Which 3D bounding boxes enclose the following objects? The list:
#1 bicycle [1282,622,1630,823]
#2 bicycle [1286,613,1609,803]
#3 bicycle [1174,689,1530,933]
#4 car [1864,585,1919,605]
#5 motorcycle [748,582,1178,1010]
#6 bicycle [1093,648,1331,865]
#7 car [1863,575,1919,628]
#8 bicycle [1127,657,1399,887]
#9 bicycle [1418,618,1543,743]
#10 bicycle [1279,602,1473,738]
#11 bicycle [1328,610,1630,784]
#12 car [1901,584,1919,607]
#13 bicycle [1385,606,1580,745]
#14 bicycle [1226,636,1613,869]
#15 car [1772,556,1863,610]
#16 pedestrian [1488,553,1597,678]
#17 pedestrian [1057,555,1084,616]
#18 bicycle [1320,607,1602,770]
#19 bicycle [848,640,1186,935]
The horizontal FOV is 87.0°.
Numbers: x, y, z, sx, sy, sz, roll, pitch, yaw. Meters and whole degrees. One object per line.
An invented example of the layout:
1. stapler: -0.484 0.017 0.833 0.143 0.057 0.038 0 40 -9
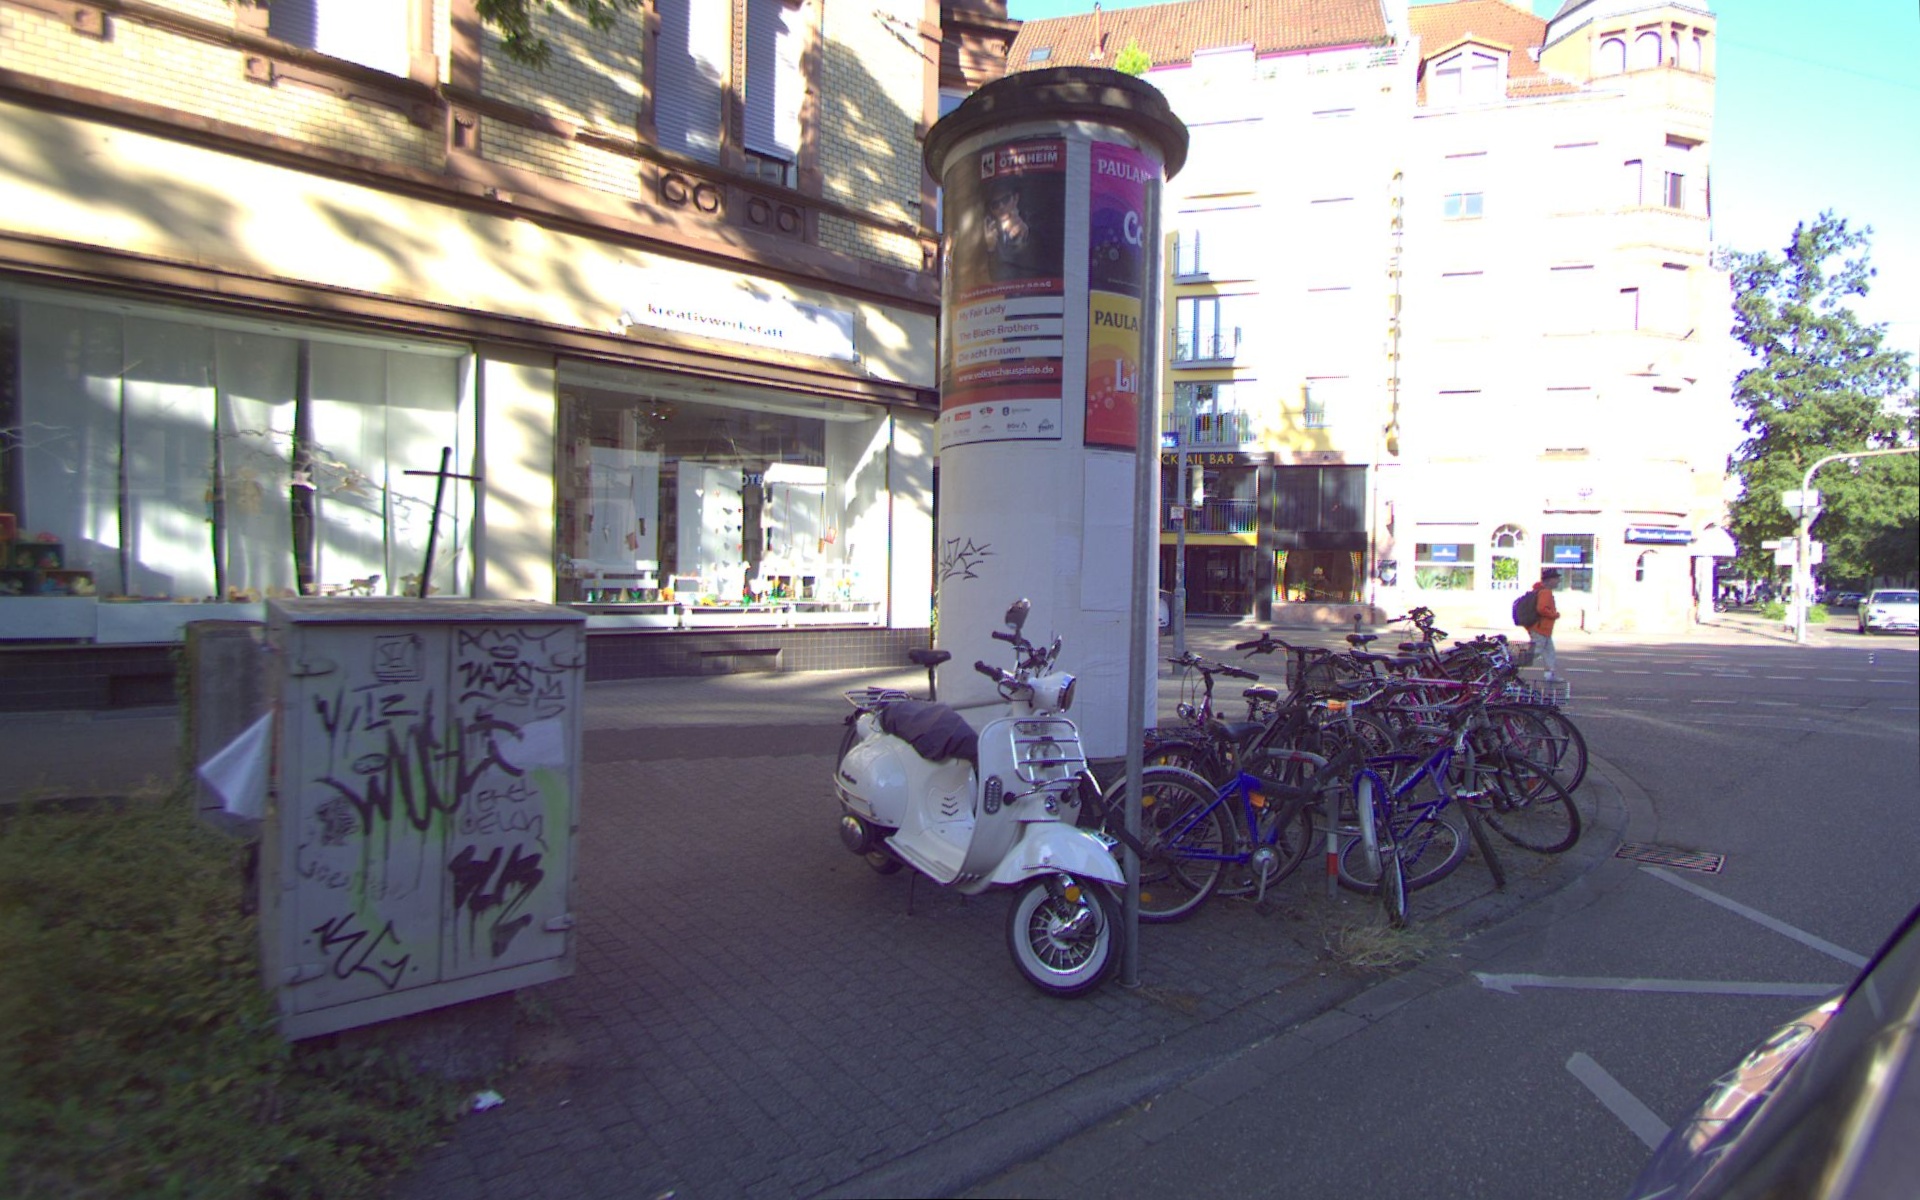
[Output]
1. bicycle: 3.153 0.756 6.611 1.908 1.064 0.501 3 4 14
2. bicycle: 3.329 0.713 7.067 1.908 1.106 0.423 3 4 14
3. bicycle: 1.671 0.889 4.357 1.384 0.938 0.355 2 3 -9
4. car: 76.861 -0.406 82.548 4.272 1.604 1.977 2 2 32
5. motorcycle: -0.107 0.610 4.142 0.673 1.248 1.903 0 4 -39
6. bicycle: 1.386 0.777 5.428 1.497 0.938 0.354 -1 5 -39
7. car: 34.075 0.032 36.344 1.988 1.771 3.949 2 2 35
8. bicycle: 1.539 0.796 5.041 1.495 0.938 0.355 0 4 -32
9. bicycle: 4.872 0.721 9.490 0.990 1.039 0.731 2 1 29
10. bicycle: 3.705 0.619 9.072 1.447 1.106 0.575 2 3 -8
11. bicycle: 3.838 0.697 7.615 1.906 1.106 0.424 3 4 12
12. car: 71.732 -0.288 73.761 4.272 1.604 1.977 2 2 32
13. bicycle: 4.464 0.640 8.665 1.447 1.106 0.426 2 3 -9
14. bicycle: 2.585 0.809 5.868 1.920 0.999 0.492 5 4 29
15. car: 55.339 -1.118 65.542 3.302 3.218 7.990 2 2 32
16. pedestrian: 8.330 0.192 14.532 1.160 1.700 1.001 1 1 21
17. pedestrian: 3.523 -0.466 32.226 0.725 1.862 0.724 1 5 15
18. bicycle: 3.940 0.674 8.082 1.906 1.106 0.424 3 4 12
19. bicycle: 0.163 0.771 4.822 0.348 0.938 1.935 0 5 -40
